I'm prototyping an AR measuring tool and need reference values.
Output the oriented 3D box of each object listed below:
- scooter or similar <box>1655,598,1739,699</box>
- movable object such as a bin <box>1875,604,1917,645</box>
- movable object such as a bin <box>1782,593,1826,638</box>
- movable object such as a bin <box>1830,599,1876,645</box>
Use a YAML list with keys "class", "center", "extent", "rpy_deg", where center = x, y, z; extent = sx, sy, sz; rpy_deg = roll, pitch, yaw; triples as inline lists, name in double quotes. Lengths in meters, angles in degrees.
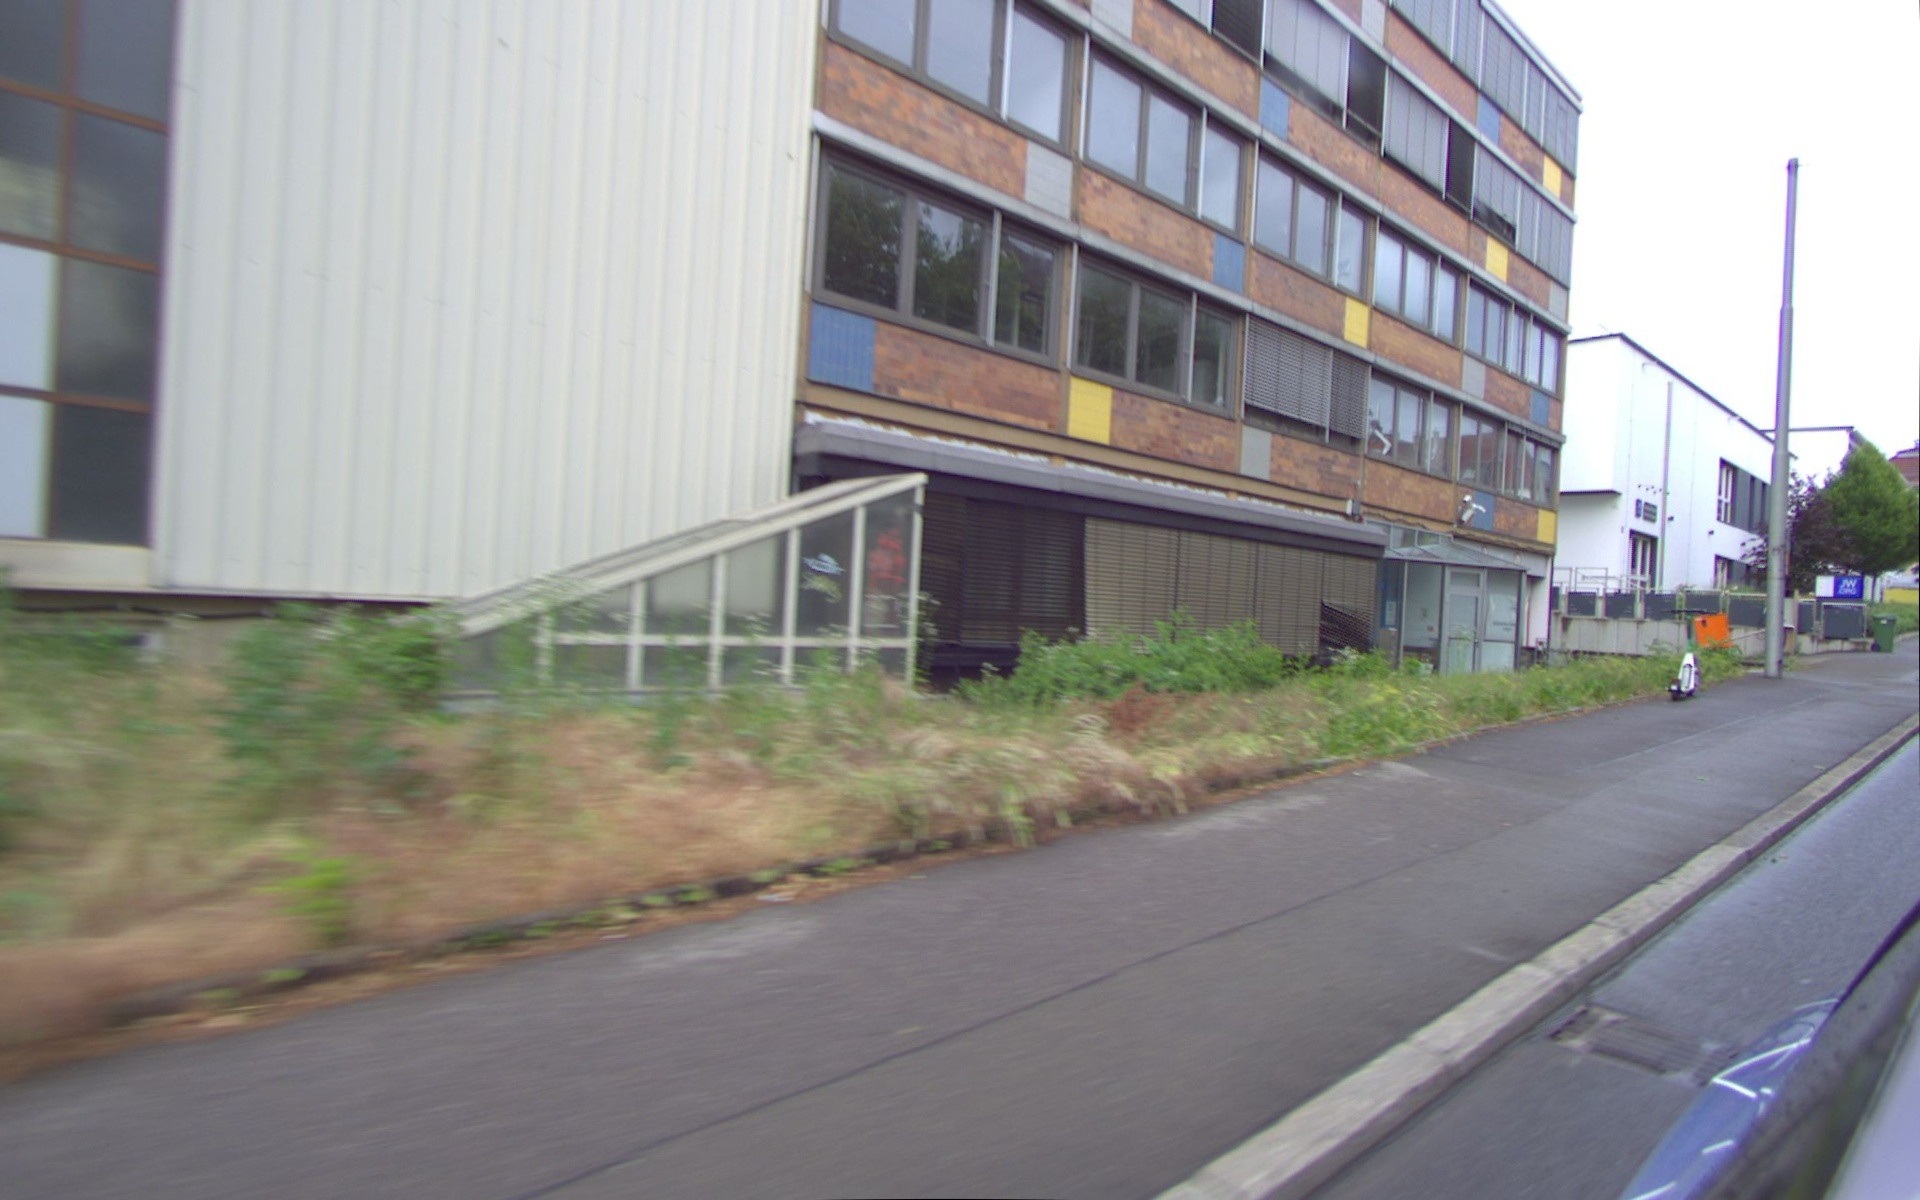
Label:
- class: "scooter or similar"
  center: [9.452, 0.581, 12.960]
  extent: [0.605, 1.176, 1.672]
  rpy_deg: [2, 2, 45]
- class: "movable object such as a bin"
  center: [23.366, 0.609, 25.265]
  extent: [0.673, 0.947, 0.621]
  rpy_deg: [1, 4, -39]
- class: "movable object such as a bin"
  center: [22.093, 0.395, 26.492]
  extent: [0.764, 1.095, 0.697]
  rpy_deg: [1, 4, -39]
- class: "movable object such as a bin"
  center: [22.748, 0.556, 25.773]
  extent: [0.764, 1.095, 0.697]
  rpy_deg: [1, 4, -39]
